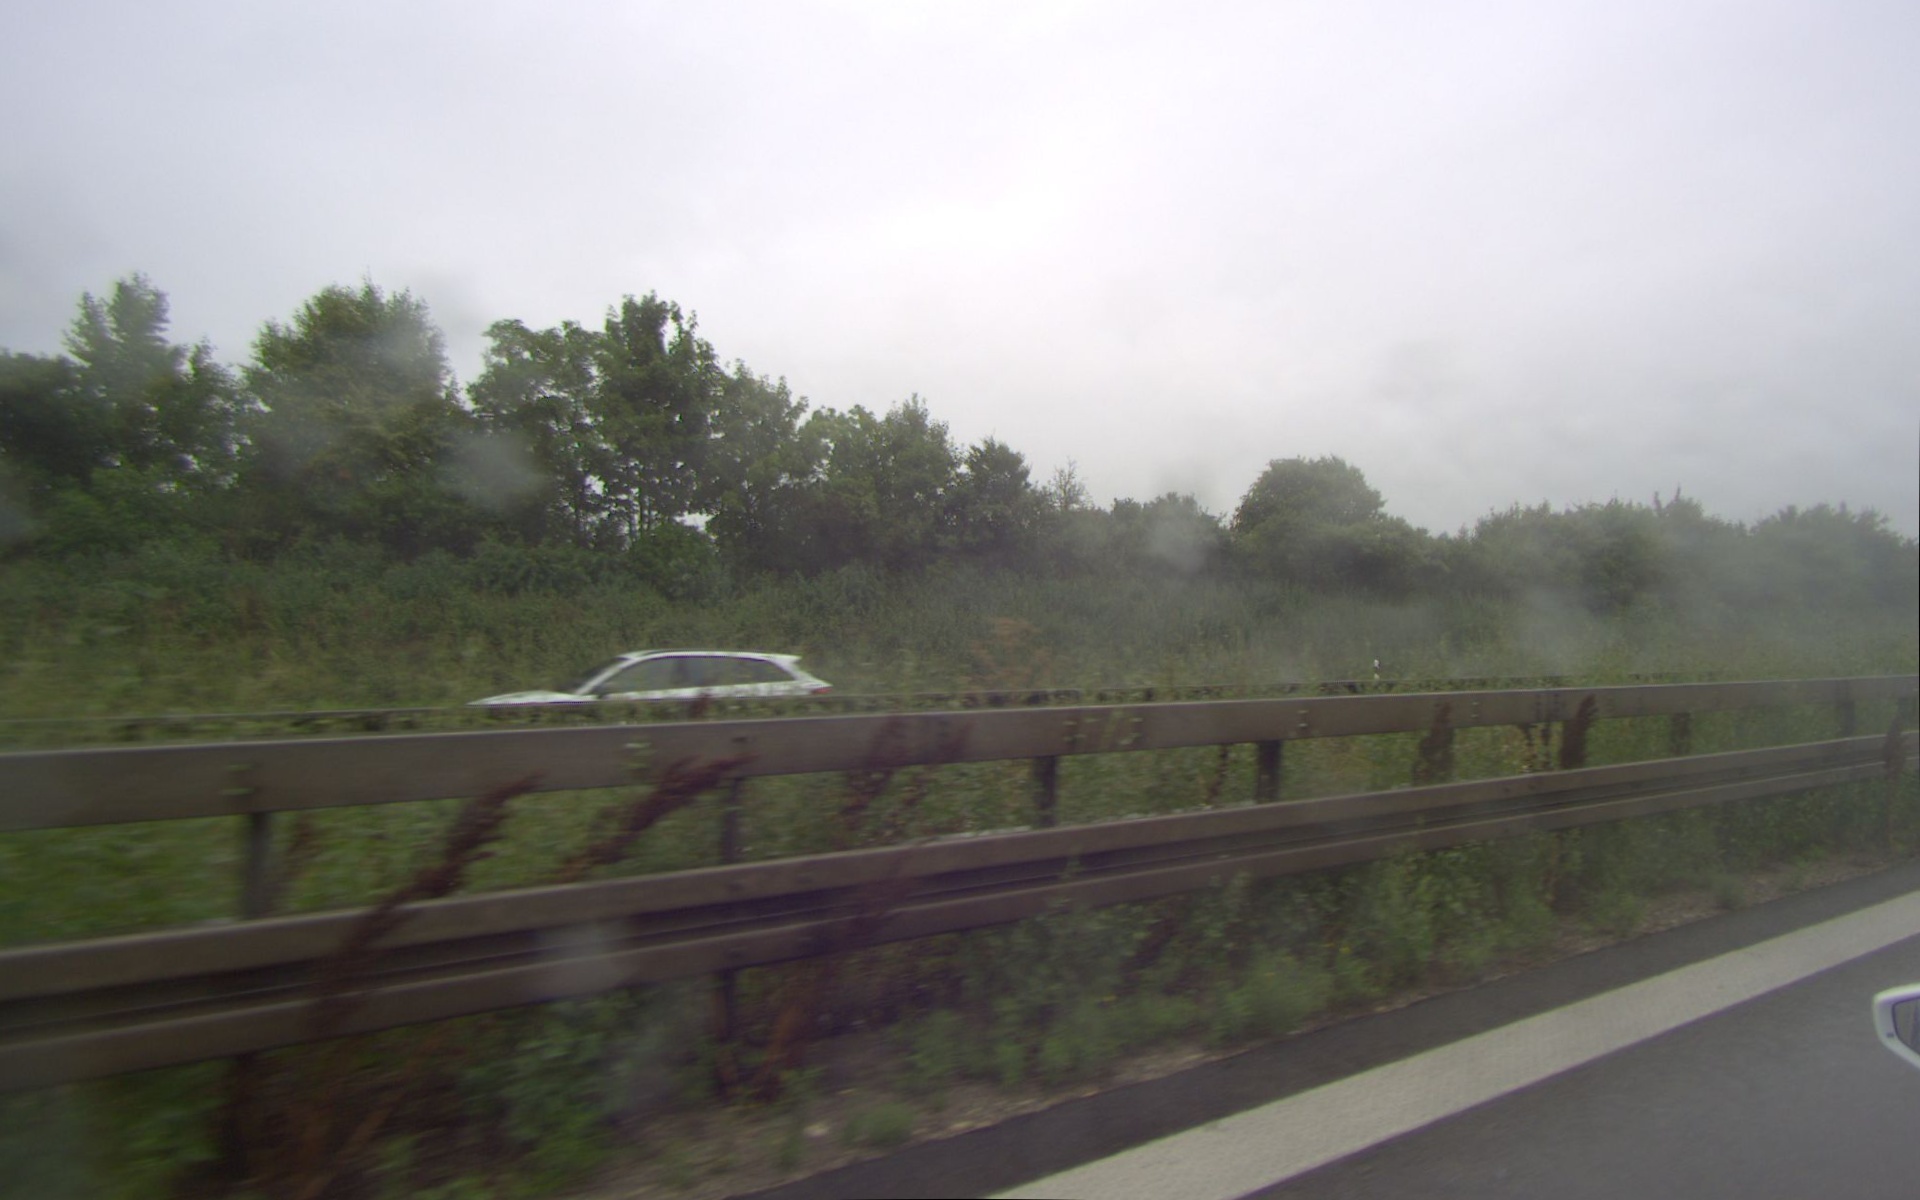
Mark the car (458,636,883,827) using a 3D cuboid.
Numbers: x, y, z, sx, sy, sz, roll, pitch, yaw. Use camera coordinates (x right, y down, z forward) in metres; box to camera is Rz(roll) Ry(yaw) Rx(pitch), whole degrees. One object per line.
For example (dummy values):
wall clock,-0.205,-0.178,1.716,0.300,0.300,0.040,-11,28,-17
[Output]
car,-3.525,1.450,12.507,4.749,1.922,1.984,1,-1,-31
